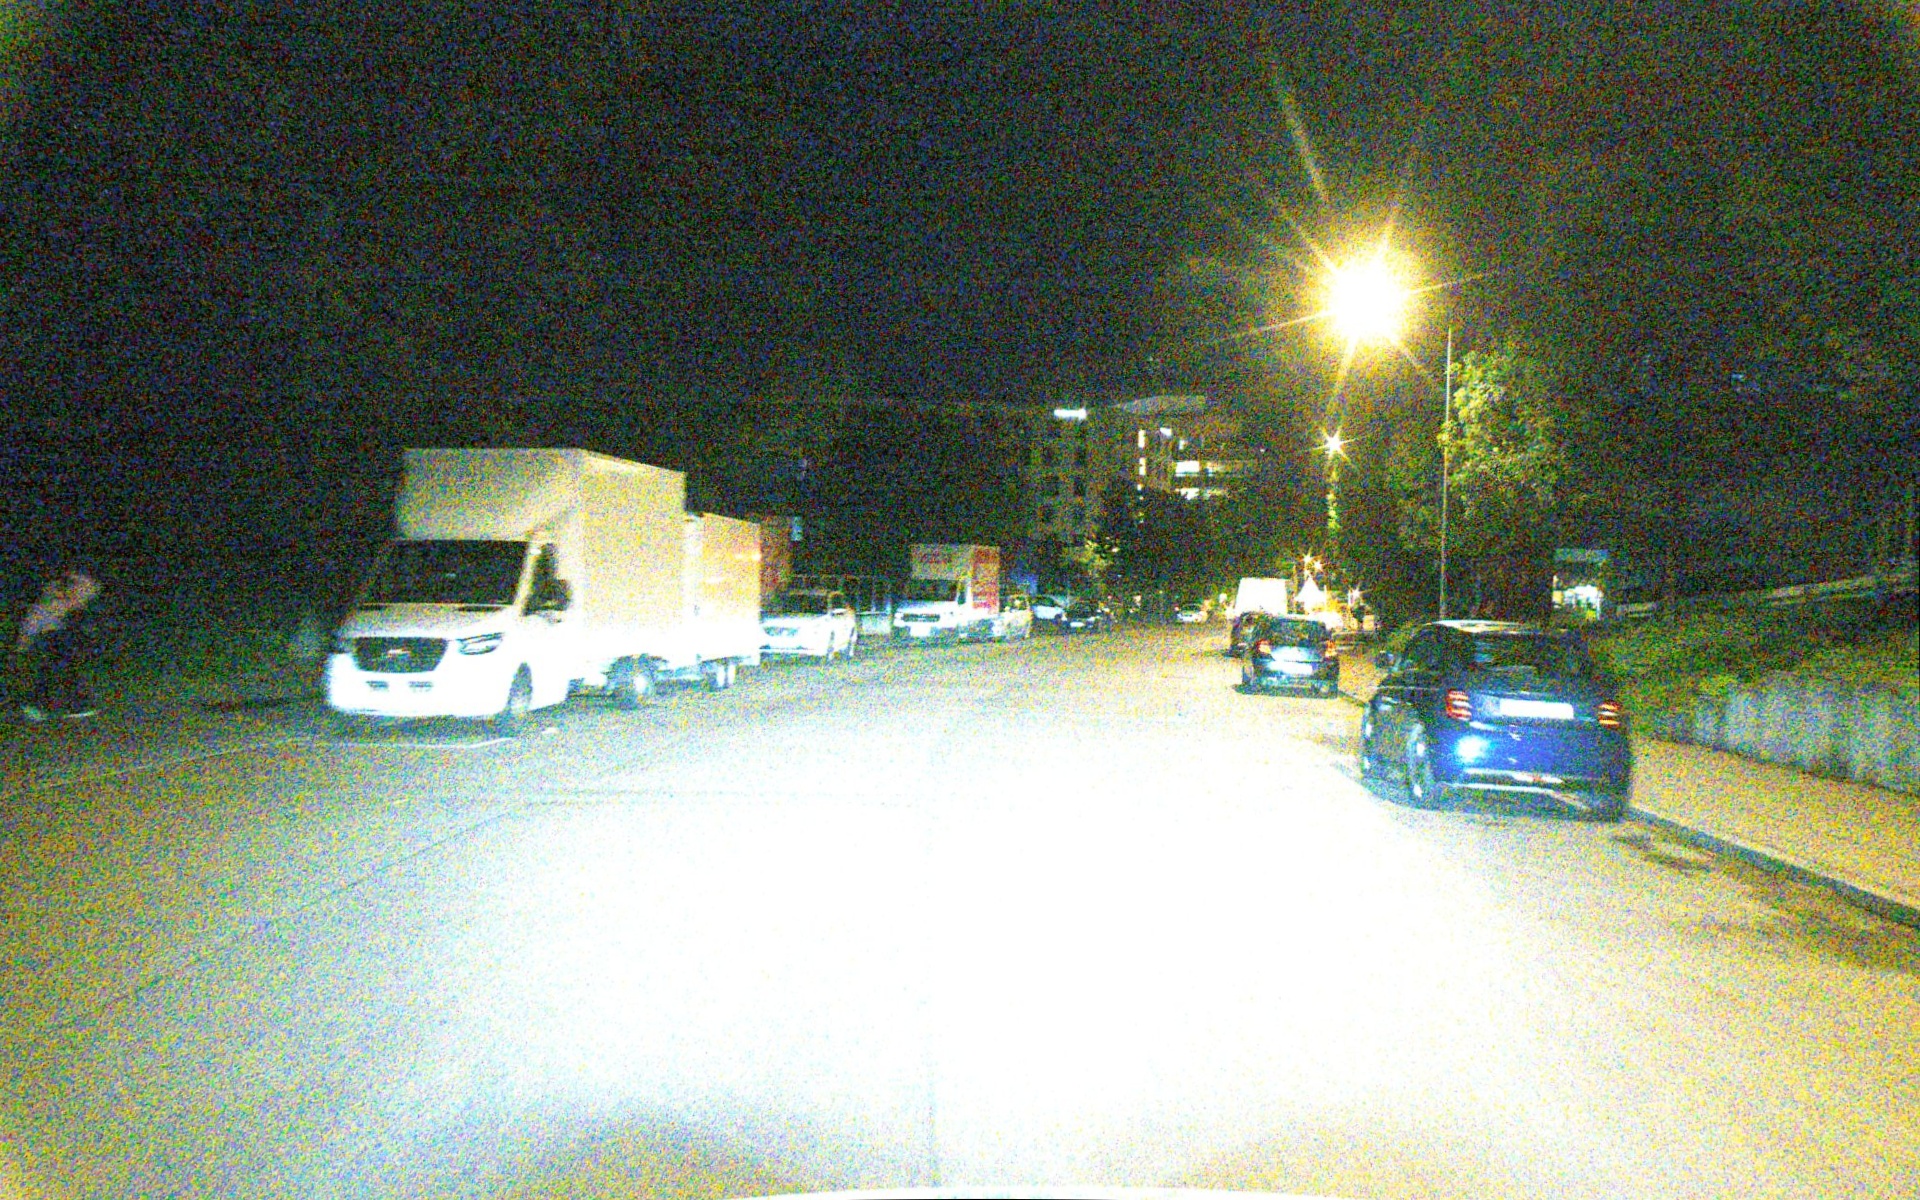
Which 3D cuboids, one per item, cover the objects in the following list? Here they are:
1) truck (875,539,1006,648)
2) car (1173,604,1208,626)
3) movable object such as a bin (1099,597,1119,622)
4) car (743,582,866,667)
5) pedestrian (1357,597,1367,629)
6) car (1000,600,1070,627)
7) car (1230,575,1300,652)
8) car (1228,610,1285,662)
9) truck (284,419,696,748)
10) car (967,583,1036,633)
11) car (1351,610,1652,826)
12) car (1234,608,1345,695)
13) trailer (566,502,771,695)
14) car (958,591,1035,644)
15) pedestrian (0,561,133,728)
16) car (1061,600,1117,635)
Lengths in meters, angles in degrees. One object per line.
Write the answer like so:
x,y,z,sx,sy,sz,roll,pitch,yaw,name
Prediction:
-0.509,-0.204,54.355,2.489,3.338,7.318,1,0,14,truck
16.299,1.045,116.828,1.871,1.428,4.340,0,0,16,car
9.474,0.595,105.023,1.139,1.522,1.066,1,0,13,movable object such as a bin
-3.504,0.524,38.161,1.951,1.803,4.695,1,0,5,car
24.048,0.754,98.941,0.558,1.885,0.820,1,0,16,pedestrian
4.492,0.785,99.330,3.902,1.598,1.818,0,0,15,car
11.075,0.478,59.770,1.978,2.570,6.056,2,0,15,car
9.481,1.115,52.675,1.674,1.534,4.644,1,0,11,car
-5.351,-0.182,20.350,2.323,3.300,7.237,1,0,6,truck
2.094,0.378,81.842,1.952,2.362,4.968,-1,0,19,car
4.625,0.916,14.663,1.575,1.538,3.827,3,0,4,car
6.514,0.978,33.057,1.674,1.534,4.002,2,0,4,car
-4.621,-0.028,26.982,2.158,2.844,4.619,1,0,4,trailer
1.385,0.618,60.724,1.790,1.848,4.842,0,0,14,car
-9.436,0.453,17.470,0.763,1.700,1.004,0,0,31,pedestrian
6.150,0.851,78.456,1.718,1.553,4.324,3,-1,17,car
